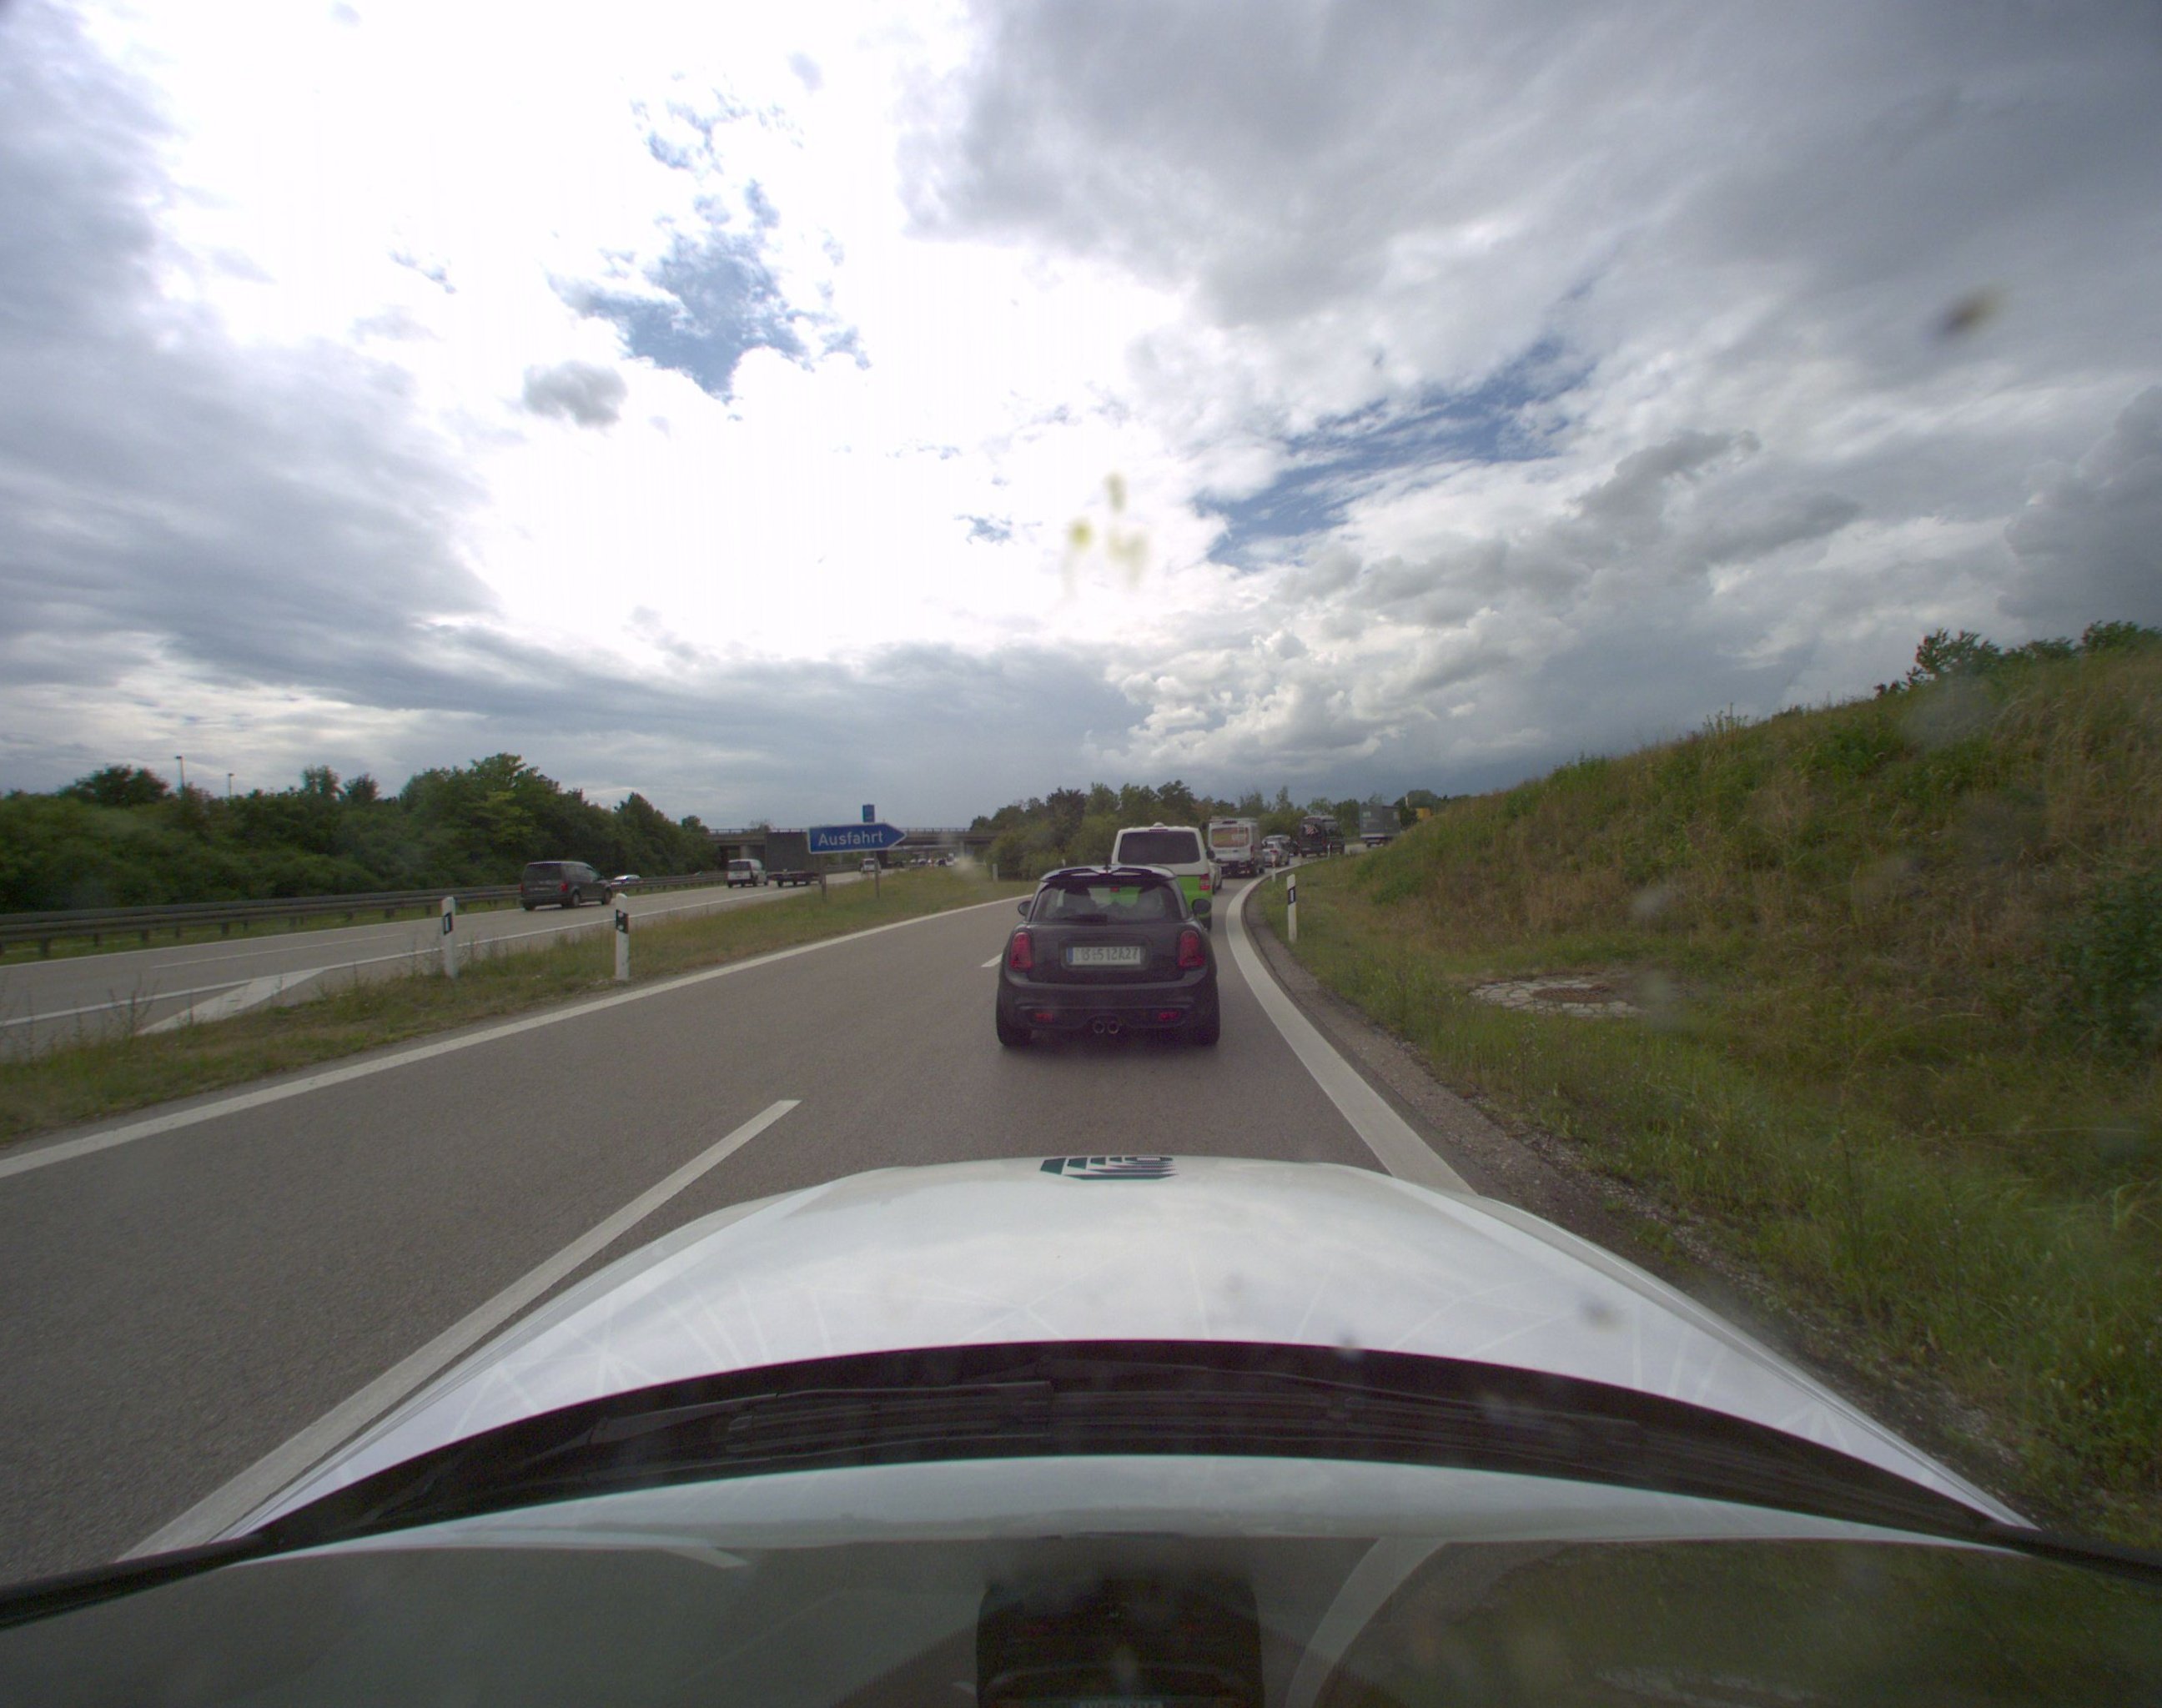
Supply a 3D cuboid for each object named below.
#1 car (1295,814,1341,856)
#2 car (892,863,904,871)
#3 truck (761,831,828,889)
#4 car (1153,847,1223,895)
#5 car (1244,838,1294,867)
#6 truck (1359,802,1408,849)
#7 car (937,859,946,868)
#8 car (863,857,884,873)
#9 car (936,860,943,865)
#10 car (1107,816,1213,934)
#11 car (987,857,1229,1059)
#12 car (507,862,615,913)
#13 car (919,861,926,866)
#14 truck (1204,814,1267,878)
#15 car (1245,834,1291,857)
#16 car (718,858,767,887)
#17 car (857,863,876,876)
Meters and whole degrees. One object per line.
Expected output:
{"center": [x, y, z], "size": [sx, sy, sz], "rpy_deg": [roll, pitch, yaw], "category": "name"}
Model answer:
{"center": [16.611, -1.295, 56.914], "size": [2.085, 2.796, 4.025], "rpy_deg": [-1, 0, 30], "category": "car"}
{"center": [-36.447, 2.584, 162.311], "size": [1.721, 1.424, 4.784], "rpy_deg": [-2, 0, -8], "category": "car"}
{"center": [-18.592, 0.404, 53.382], "size": [2.466, 3.371, 7.901], "rpy_deg": [-3, 0, -8], "category": "truck"}
{"center": [3.527, 0.496, 26.278], "size": [1.749, 1.399, 3.739], "rpy_deg": [-2, 0, 14], "category": "car"}
{"center": [10.739, -0.095, 46.326], "size": [1.849, 1.510, 4.024], "rpy_deg": [-2, 0, 26], "category": "car"}
{"center": [26.891, -2.472, 72.341], "size": [2.207, 3.907, 6.054], "rpy_deg": [-1, -1, 39], "category": "truck"}
{"center": [-32.078, 2.197, 187.738], "size": [1.993, 2.014, 3.987], "rpy_deg": [0, -1, -9], "category": "car"}
{"center": [-24.802, 1.290, 97.492], "size": [1.874, 1.751, 4.476], "rpy_deg": [-2, 0, -7], "category": "car"}
{"center": [-42.283, 2.640, 243.515], "size": [1.778, 1.399, 4.540], "rpy_deg": [-2, 0, -6], "category": "car"}
{"center": [1.643, 0.372, 16.096], "size": [1.774, 2.013, 4.009], "rpy_deg": [-1, 0, 8], "category": "car"}
{"center": [0.278, 0.760, 7.741], "size": [1.720, 1.413, 3.727], "rpy_deg": [-1, 0, 3], "category": "car"}
{"center": [-20.055, 1.237, 31.635], "size": [1.844, 1.758, 4.324], "rpy_deg": [-2, 0, -8], "category": "car"}
{"center": [-46.214, 2.731, 237.258], "size": [1.778, 1.399, 4.296], "rpy_deg": [-2, 0, -6], "category": "car"}
{"center": [7.075, -0.389, 36.861], "size": [2.161, 2.658, 5.132], "rpy_deg": [-2, 1, 17], "category": "truck"}
{"center": [13.558, -0.608, 58.854], "size": [1.816, 1.566, 4.526], "rpy_deg": [-2, 0, 32], "category": "car"}
{"center": [-22.724, 1.205, 54.853], "size": [1.992, 1.810, 3.990], "rpy_deg": [-2, 0, -7], "category": "car"}
{"center": [-31.265, 2.261, 118.753], "size": [1.992, 1.785, 5.398], "rpy_deg": [-2, 0, -7], "category": "car"}
